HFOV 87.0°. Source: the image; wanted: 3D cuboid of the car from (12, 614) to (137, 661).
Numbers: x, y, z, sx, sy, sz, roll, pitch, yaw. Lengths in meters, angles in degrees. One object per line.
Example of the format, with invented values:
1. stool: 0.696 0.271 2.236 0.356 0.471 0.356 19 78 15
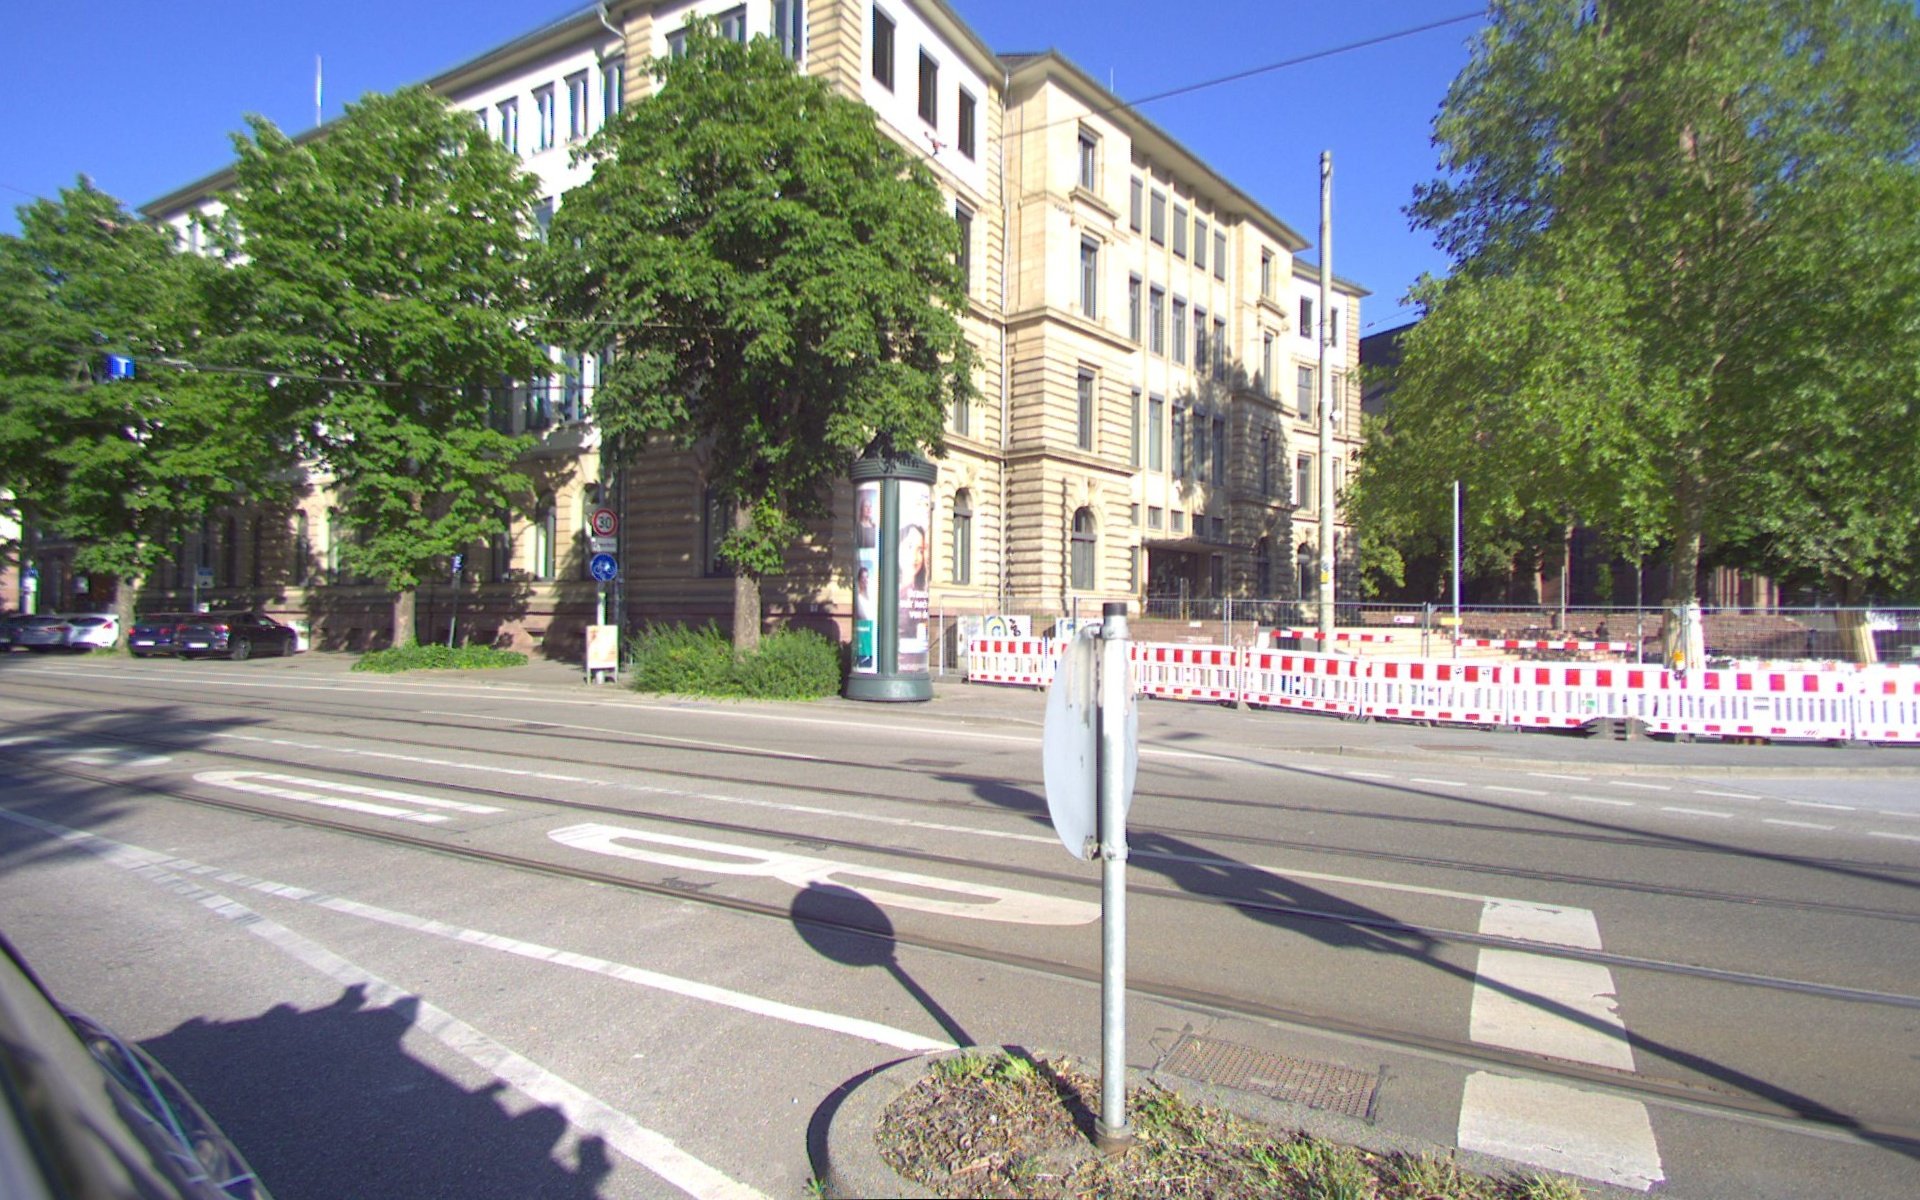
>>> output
1. car: -33.131 1.367 38.004 1.626 1.572 3.652 -1 0 -3

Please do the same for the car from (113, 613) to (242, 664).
1. car: -26.149 1.249 33.973 1.626 1.572 3.652 -1 0 -3

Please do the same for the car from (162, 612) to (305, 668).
1. car: -23.520 1.241 32.969 1.819 1.643 4.184 -1 0 -3

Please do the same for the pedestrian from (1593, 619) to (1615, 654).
1. pedestrian: 30.416 1.723 47.780 0.627 1.660 0.677 1 -2 -37

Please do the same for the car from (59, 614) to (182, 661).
1. car: -30.819 1.350 37.292 1.626 1.572 3.652 -1 0 -3

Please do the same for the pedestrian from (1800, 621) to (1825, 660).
1. pedestrian: 36.820 1.723 43.696 0.666 1.660 0.762 1 -2 -45

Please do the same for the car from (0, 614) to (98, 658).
1. car: -36.146 1.388 39.714 1.626 1.572 3.652 -1 0 -3
